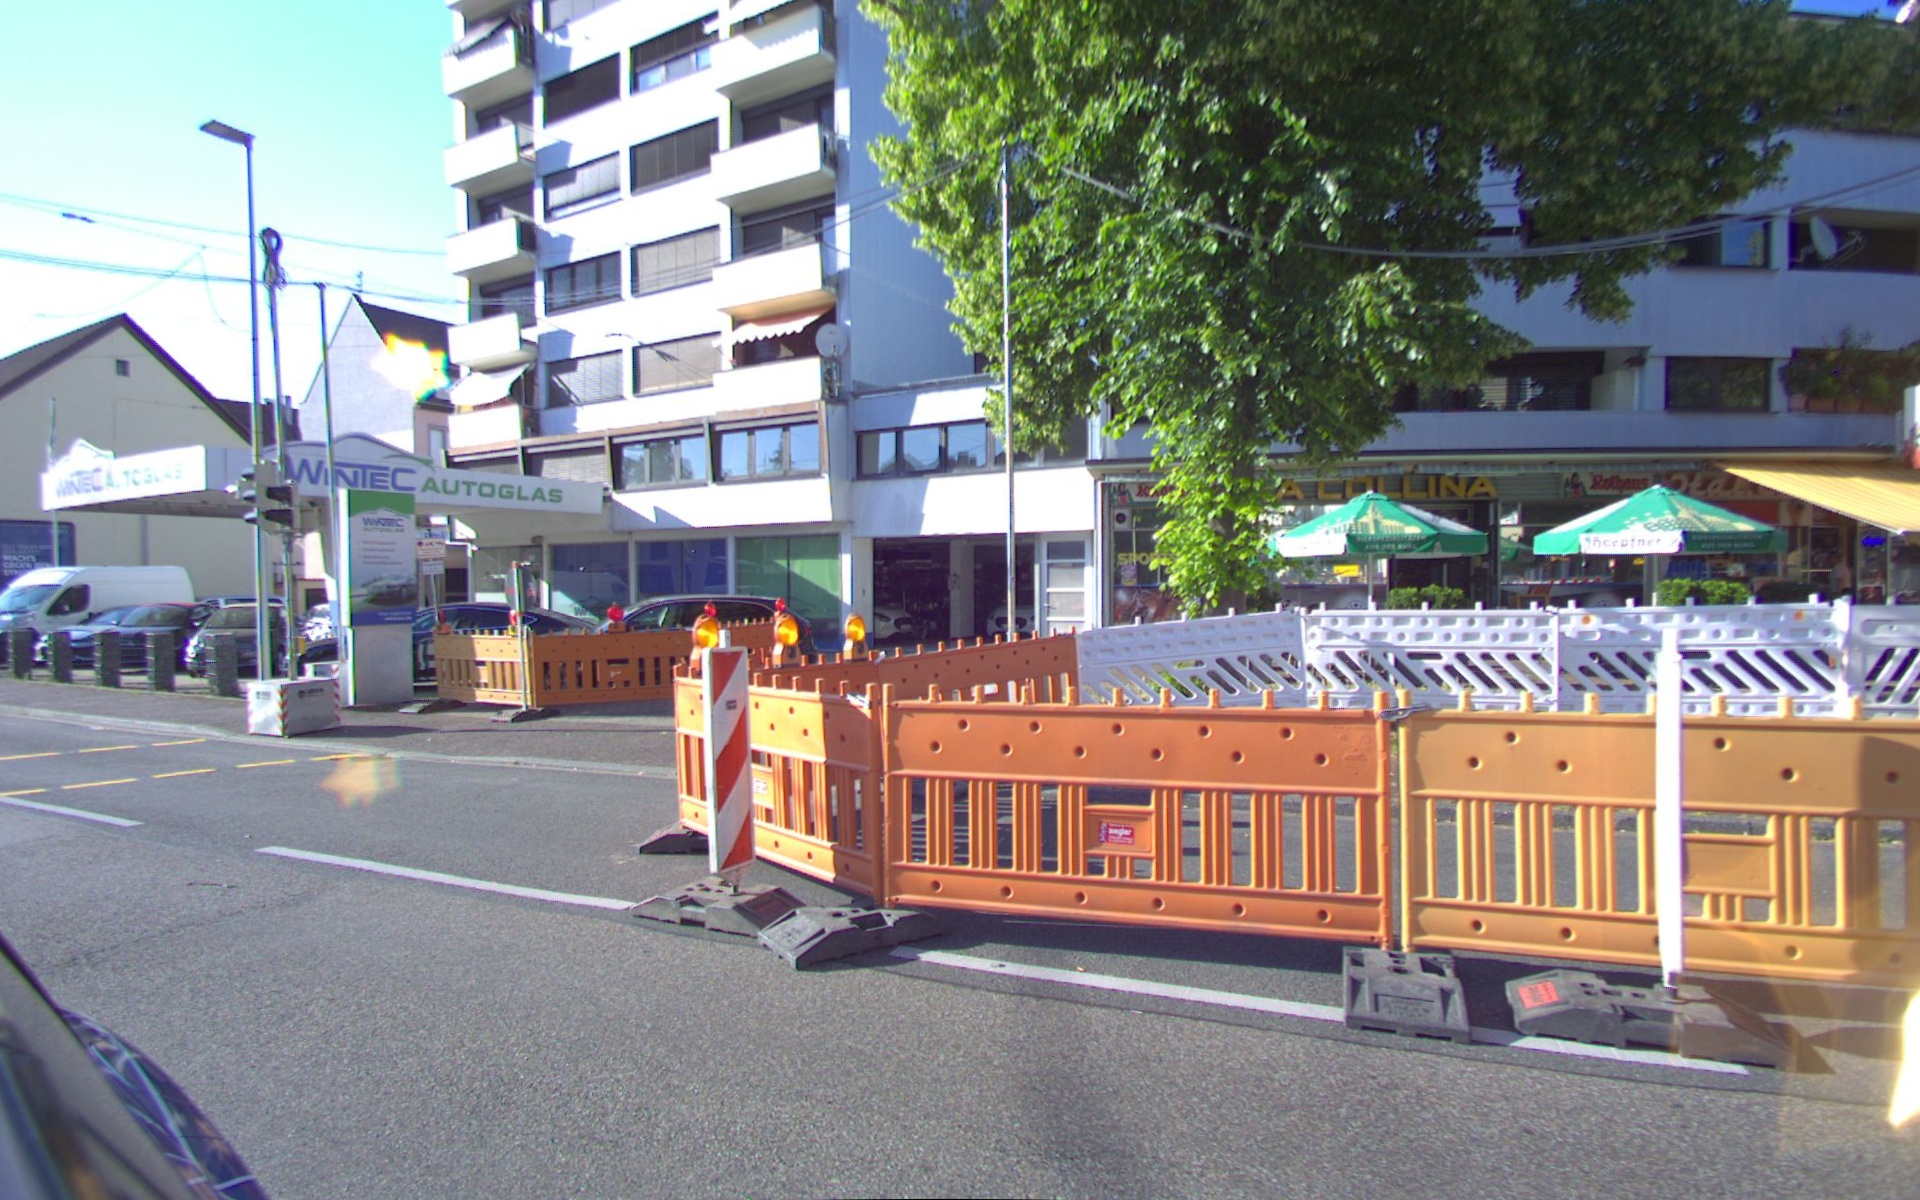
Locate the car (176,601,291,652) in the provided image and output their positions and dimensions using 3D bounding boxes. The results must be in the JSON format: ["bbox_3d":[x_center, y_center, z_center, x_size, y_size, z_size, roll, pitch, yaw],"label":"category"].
[{"bbox_3d":[-30.195,1.071,42.157,1.445,2.029,3.638,-1,0,29],"label":"car"}]

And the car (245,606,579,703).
[{"bbox_3d":[-8.881,0.844,16.881,4.609,1.449,1.938,0,-1,-16],"label":"car"}]

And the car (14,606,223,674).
[{"bbox_3d":[-20.800,0.937,25.257,1.720,1.508,4.027,-1,0,3],"label":"car"}]

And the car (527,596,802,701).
[{"bbox_3d":[-4.551,0.700,15.838,3.822,1.449,1.599,0,-1,-38],"label":"car"}]

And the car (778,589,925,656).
[{"bbox_3d":[-2.913,0.571,27.065,3.616,1.686,1.706,0,0,30],"label":"car"}]

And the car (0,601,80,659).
[{"bbox_3d":[-33.805,1.056,35.919,1.445,2.029,3.638,-1,0,29],"label":"car"}]

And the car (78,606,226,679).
[{"bbox_3d":[-18.448,0.919,23.283,1.567,1.508,3.446,-1,0,-18],"label":"car"}]

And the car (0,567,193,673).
[{"bbox_3d":[-23.129,0.469,26.348,2.092,2.472,4.977,-1,0,10],"label":"car"}]

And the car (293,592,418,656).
[{"bbox_3d":[-19.526,0.733,32.657,4.244,1.958,1.724,-1,0,32],"label":"car"}]

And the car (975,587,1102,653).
[{"bbox_3d":[2.181,0.494,27.197,1.571,1.620,3.706,-1,1,39],"label":"car"}]

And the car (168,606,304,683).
[{"bbox_3d":[-15.599,0.904,21.972,1.515,1.497,3.384,-1,0,-20],"label":"car"}]
